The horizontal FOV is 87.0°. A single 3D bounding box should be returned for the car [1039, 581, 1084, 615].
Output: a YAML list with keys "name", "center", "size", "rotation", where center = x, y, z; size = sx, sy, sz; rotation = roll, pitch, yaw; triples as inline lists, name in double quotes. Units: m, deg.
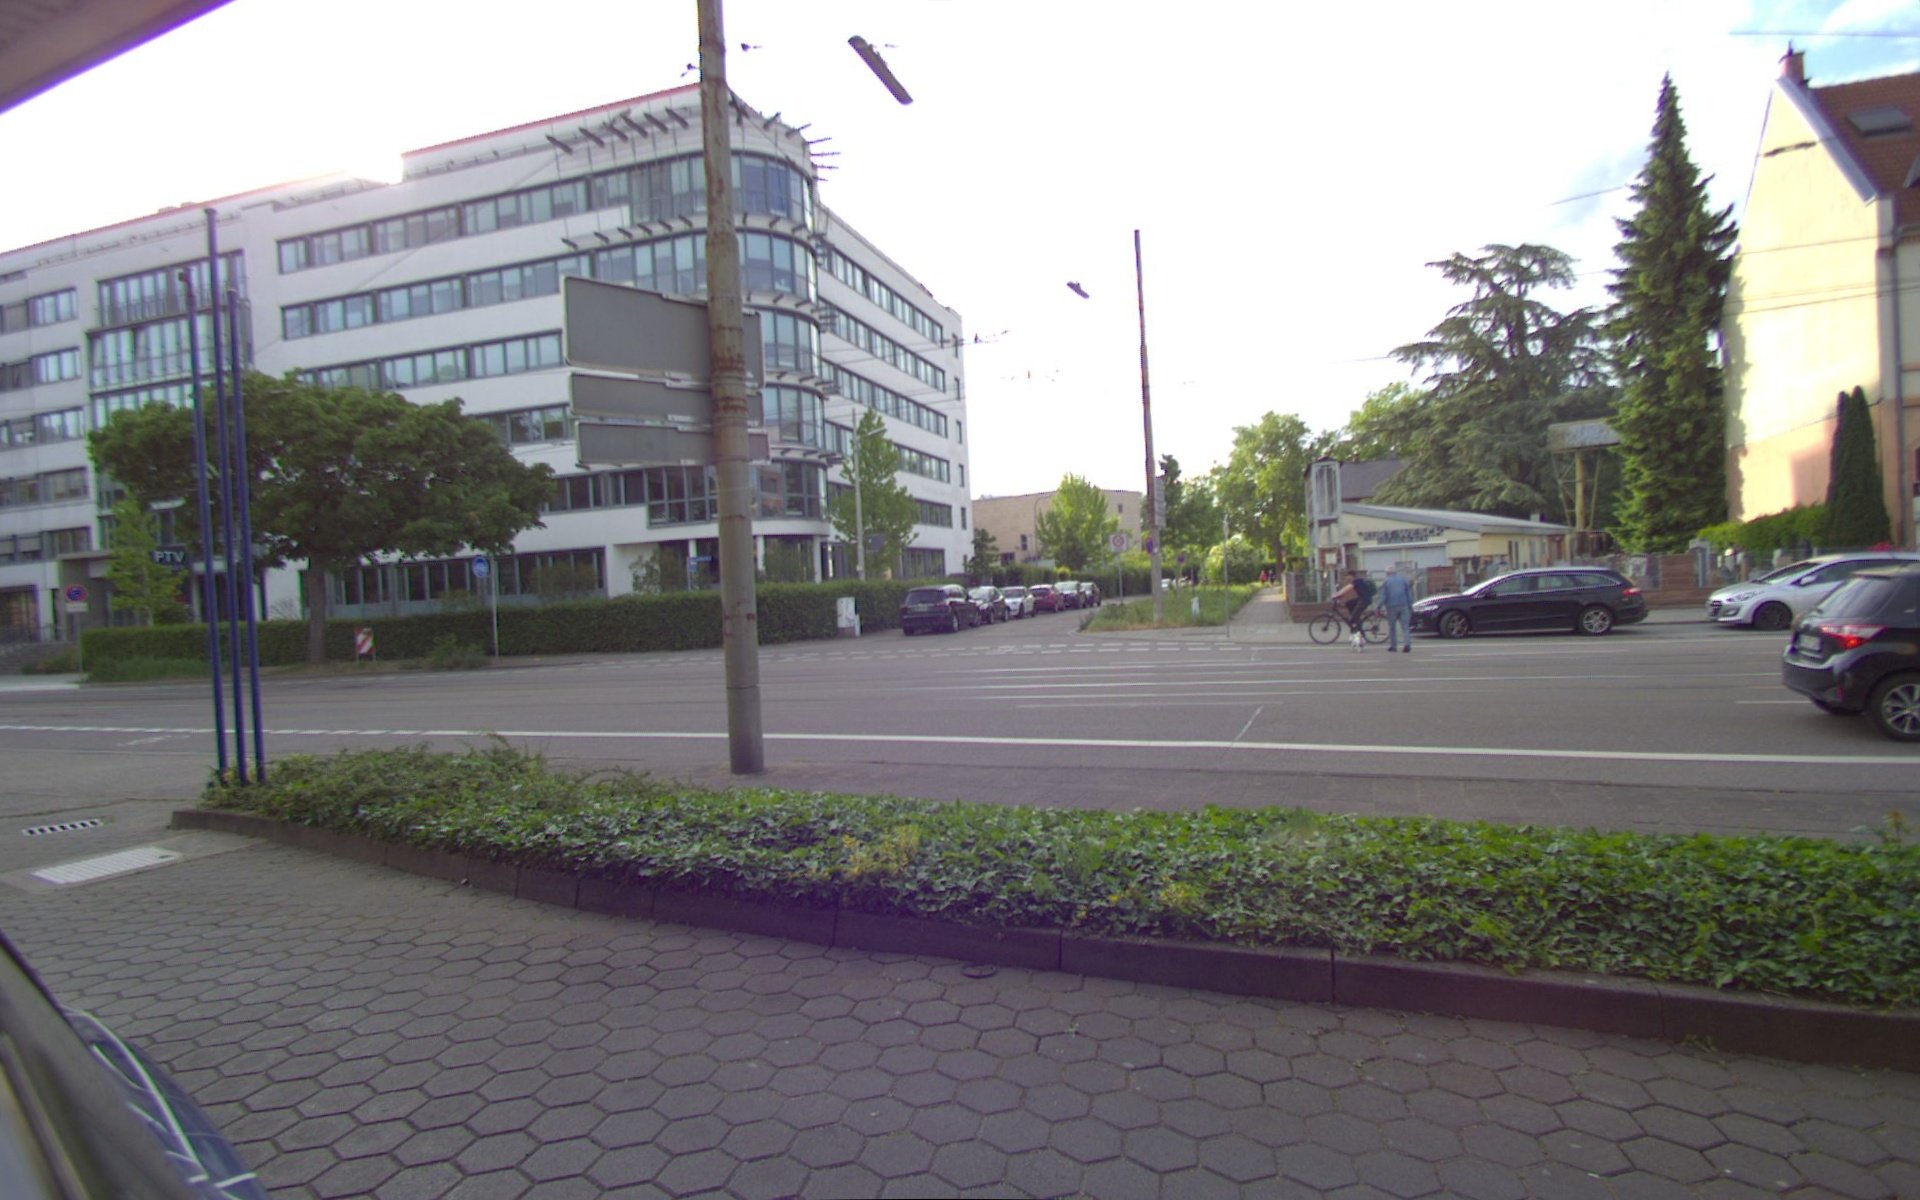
- name: "car"
  center: [5.831, -0.154, 57.716]
  size: [1.929, 1.748, 4.512]
  rotation: [-3, 0, 13]

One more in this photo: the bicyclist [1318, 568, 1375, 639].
- name: "bicyclist"
  center: [8.791, 0.080, 23.032]
  size: [1.075, 1.546, 0.677]
  rotation: [-3, -1, 16]

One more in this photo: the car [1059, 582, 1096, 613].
- name: "car"
  center: [7.285, -0.164, 62.490]
  size: [1.731, 1.748, 4.030]
  rotation: [-3, 0, 13]

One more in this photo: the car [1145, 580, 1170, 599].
- name: "car"
  center: [19.694, -1.086, 100.787]
  size: [1.849, 1.748, 4.247]
  rotation: [-3, 0, 19]

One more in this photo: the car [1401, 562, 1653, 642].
- name: "car"
  center: [12.908, 0.049, 23.438]
  size: [4.742, 1.511, 2.001]
  rotation: [-3, 1, 21]

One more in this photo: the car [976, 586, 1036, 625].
- name: "car"
  center: [2.138, 0.209, 45.781]
  size: [1.929, 1.530, 4.274]
  rotation: [-3, 0, 13]

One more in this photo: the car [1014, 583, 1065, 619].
- name: "car"
  center: [4.171, 0.019, 52.487]
  size: [1.929, 1.650, 4.274]
  rotation: [-3, 0, 13]

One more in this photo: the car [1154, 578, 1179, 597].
- name: "car"
  center: [21.685, -1.336, 106.156]
  size: [1.849, 1.748, 4.246]
  rotation: [-3, 1, 19]

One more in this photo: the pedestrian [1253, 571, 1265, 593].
- name: "pedestrian"
  center: [26.369, -1.592, 89.275]
  size: [0.899, 1.865, 0.942]
  rotation: [-3, -1, 19]

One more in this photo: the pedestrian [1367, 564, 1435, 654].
- name: "pedestrian"
  center: [8.553, 0.166, 19.625]
  size: [1.001, 1.680, 0.960]
  rotation: [-3, 0, 34]

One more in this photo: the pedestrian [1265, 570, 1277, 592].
- name: "pedestrian"
  center: [27.311, -1.653, 88.937]
  size: [0.899, 1.865, 0.942]
  rotation: [-3, -1, 19]

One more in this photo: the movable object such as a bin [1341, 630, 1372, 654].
- name: "movable object such as a bin"
  center: [7.904, 0.827, 20.185]
  size: [0.476, 0.424, 0.676]
  rotation: [-3, 0, 16]

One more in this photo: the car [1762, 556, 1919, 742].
- name: "car"
  center: [9.514, 0.334, 8.652]
  size: [3.788, 1.482, 1.677]
  rotation: [-3, 2, 24]

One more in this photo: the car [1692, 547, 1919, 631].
- name: "car"
  center: [18.419, -0.250, 21.376]
  size: [4.424, 1.494, 1.713]
  rotation: [-3, 1, 21]

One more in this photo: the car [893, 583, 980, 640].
- name: "car"
  center: [-0.729, 0.355, 35.410]
  size: [1.994, 1.704, 4.274]
  rotation: [-3, 1, 13]

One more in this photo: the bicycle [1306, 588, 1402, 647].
- name: "bicycle"
  center: [8.923, 0.392, 22.996]
  size: [1.902, 1.231, 0.677]
  rotation: [-3, -1, 16]

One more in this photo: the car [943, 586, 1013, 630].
- name: "car"
  center: [0.790, 0.286, 40.970]
  size: [1.929, 1.551, 4.274]
  rotation: [-3, 0, 13]
